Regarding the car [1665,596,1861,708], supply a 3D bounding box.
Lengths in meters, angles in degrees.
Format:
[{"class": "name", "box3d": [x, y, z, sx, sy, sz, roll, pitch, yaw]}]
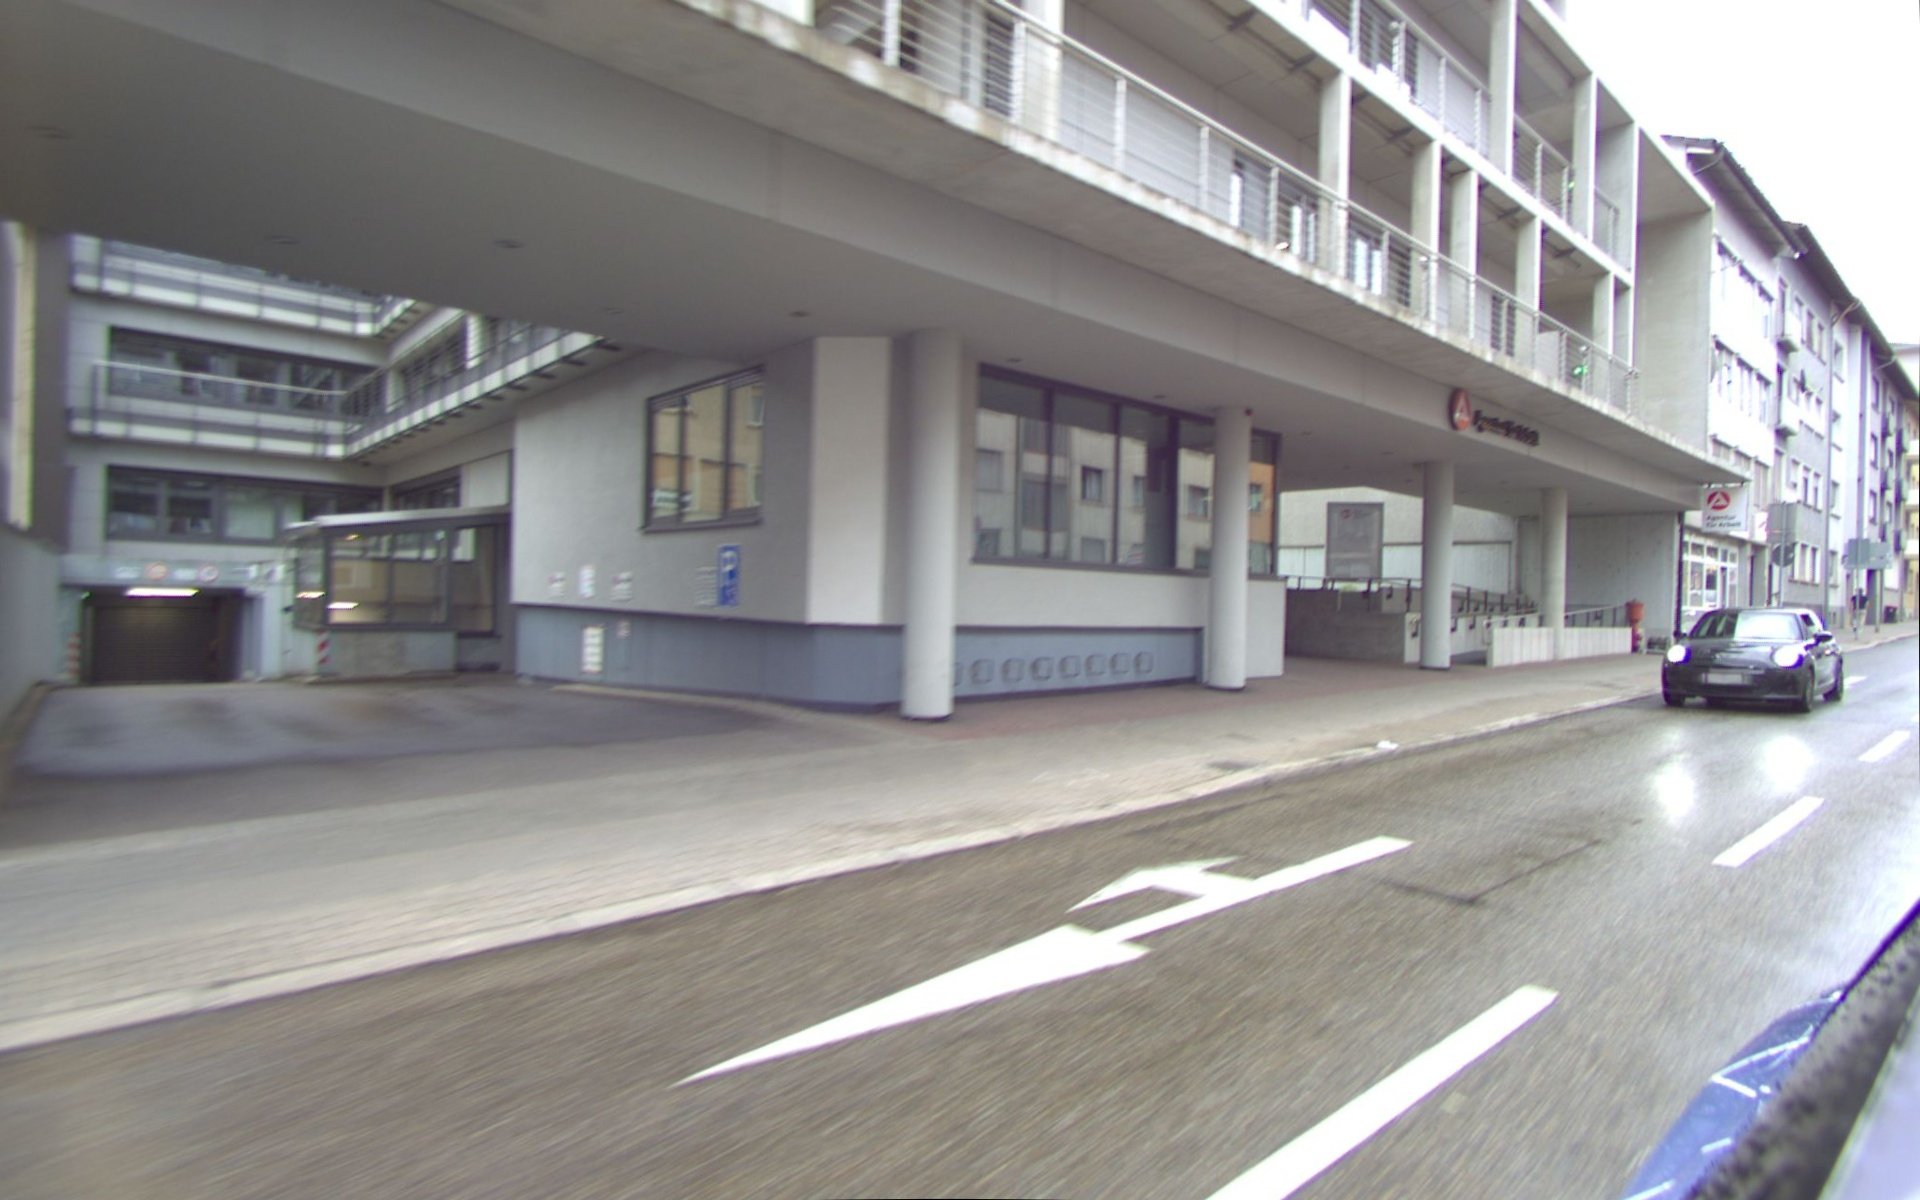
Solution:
[{"class": "car", "box3d": [12.133, 0.689, 15.200, 4.003, 1.438, 1.662, -1, -1, -42]}]
